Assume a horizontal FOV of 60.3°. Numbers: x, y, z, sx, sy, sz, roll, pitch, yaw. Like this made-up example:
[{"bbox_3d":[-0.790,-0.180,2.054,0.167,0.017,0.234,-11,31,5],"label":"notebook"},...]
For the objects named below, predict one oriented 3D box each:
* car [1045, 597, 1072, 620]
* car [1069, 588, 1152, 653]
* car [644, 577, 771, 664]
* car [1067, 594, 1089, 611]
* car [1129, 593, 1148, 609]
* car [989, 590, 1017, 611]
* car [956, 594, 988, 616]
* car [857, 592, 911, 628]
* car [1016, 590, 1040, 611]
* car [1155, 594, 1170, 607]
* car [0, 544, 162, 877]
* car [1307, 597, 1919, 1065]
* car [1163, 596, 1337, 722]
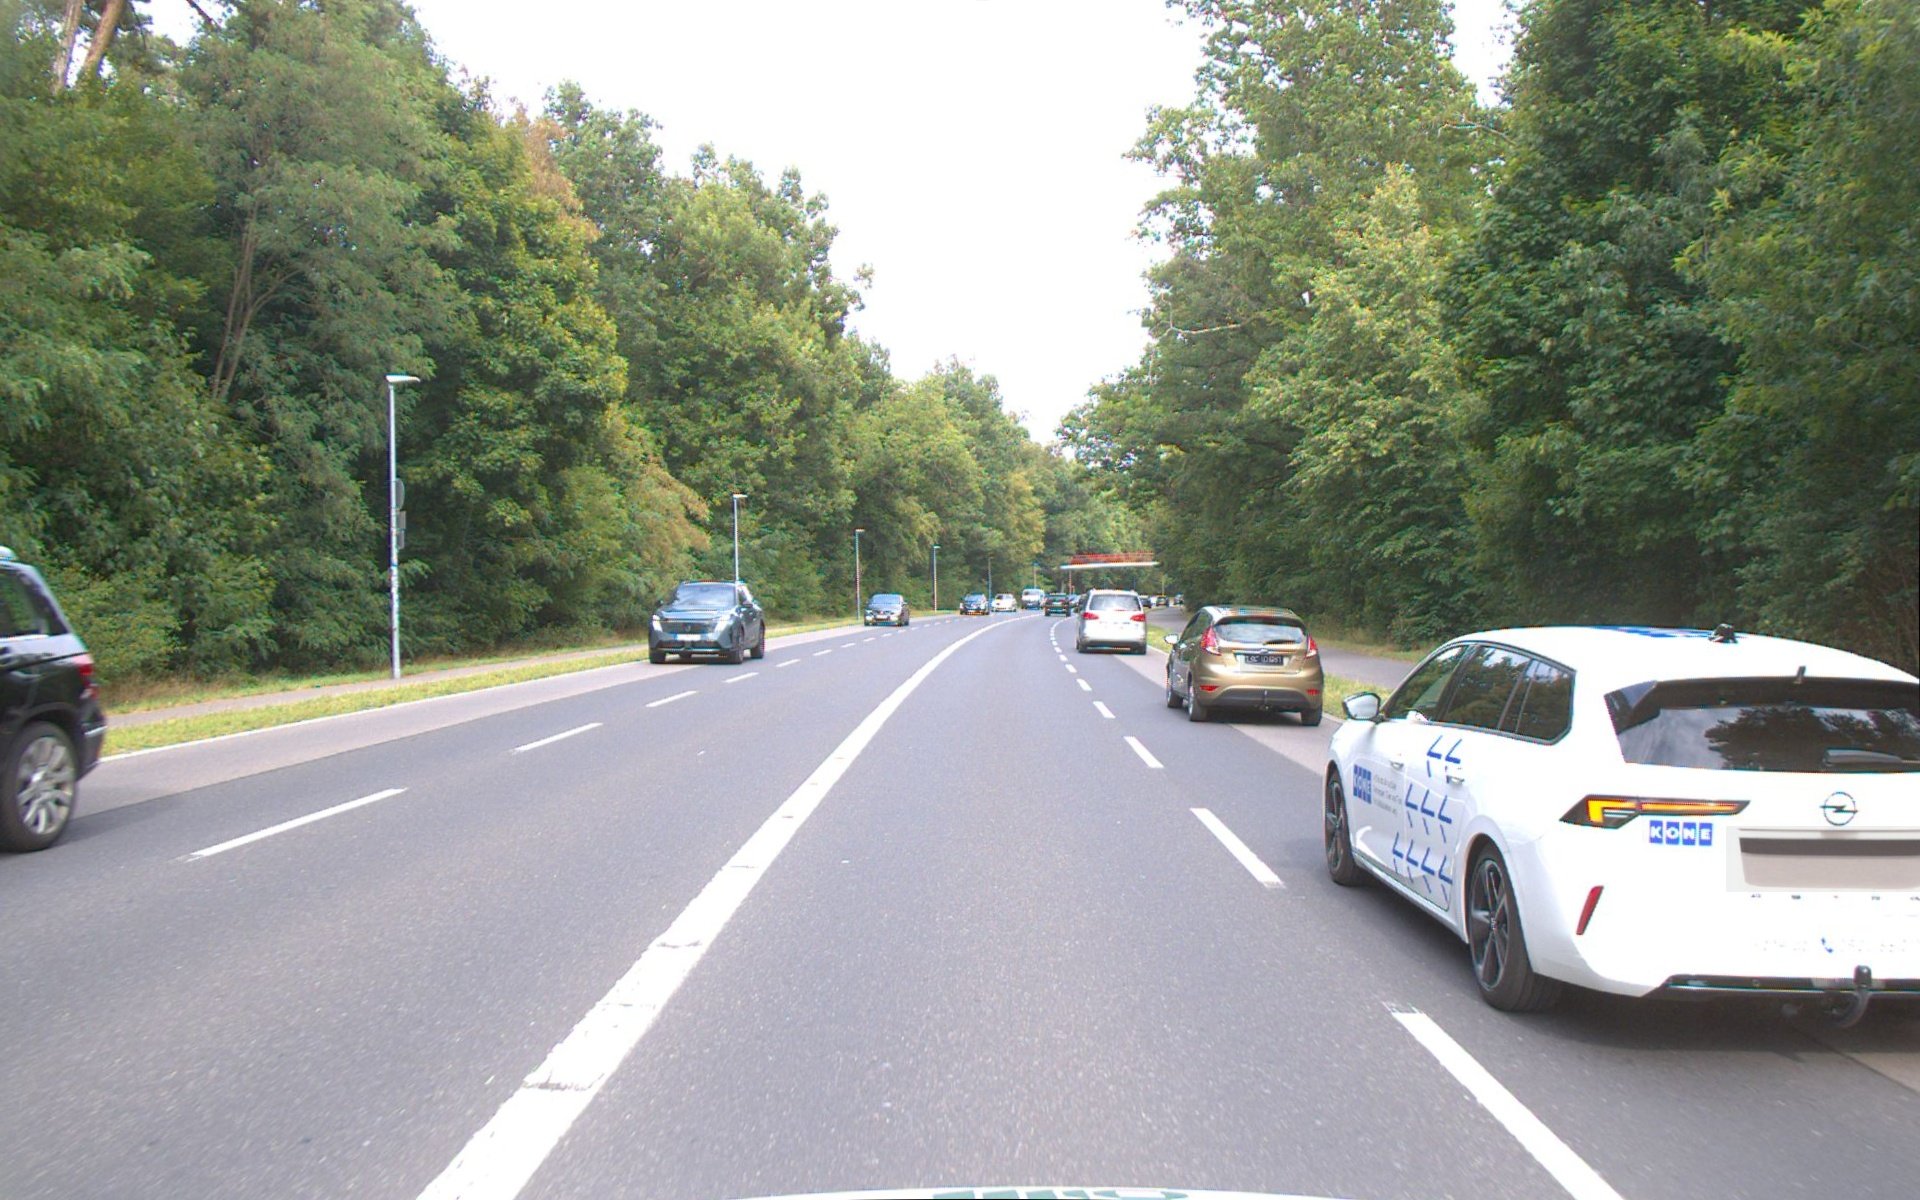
[{"bbox_3d":[7.168,0.622,120.201,1.693,1.615,4.003,2,-1,7],"label":"car"},{"bbox_3d":[4.089,0.563,45.474,1.952,1.635,4.001,2,-1,2],"label":"car"},{"bbox_3d":[-5.260,0.437,35.099,1.953,1.645,4.663,2,-1,-1],"label":"car"},{"bbox_3d":[11.269,0.253,157.844,1.621,1.512,3.869,2,-1,12],"label":"car"},{"bbox_3d":[21.654,0.165,200.579,1.951,1.814,4.003,2,-1,11],"label":"car"},{"bbox_3d":[3.617,0.077,139.189,1.951,1.590,4.606,2,-1,6],"label":"car"},{"bbox_3d":[0.918,0.363,119.038,1.841,1.468,4.406,2,-1,6],"label":"car"},{"bbox_3d":[-3.426,0.457,75.374,1.856,1.509,4.541,2,-1,5],"label":"car"},{"bbox_3d":[6.767,0.093,164.409,1.951,2.049,5.057,0,-1,7],"label":"car"},{"bbox_3d":[28.429,0.049,232.000,1.951,1.735,4.004,0,0,10],"label":"car"},{"bbox_3d":[-5.796,0.546,7.746,1.883,1.684,4.470,1,0,1],"label":"car"},{"bbox_3d":[2.919,0.732,7.497,1.798,1.434,4.491,1,1,1],"label":"car"},{"bbox_3d":[3.740,0.731,21.925,1.602,1.445,4.000,2,-1,1],"label":"car"}]
